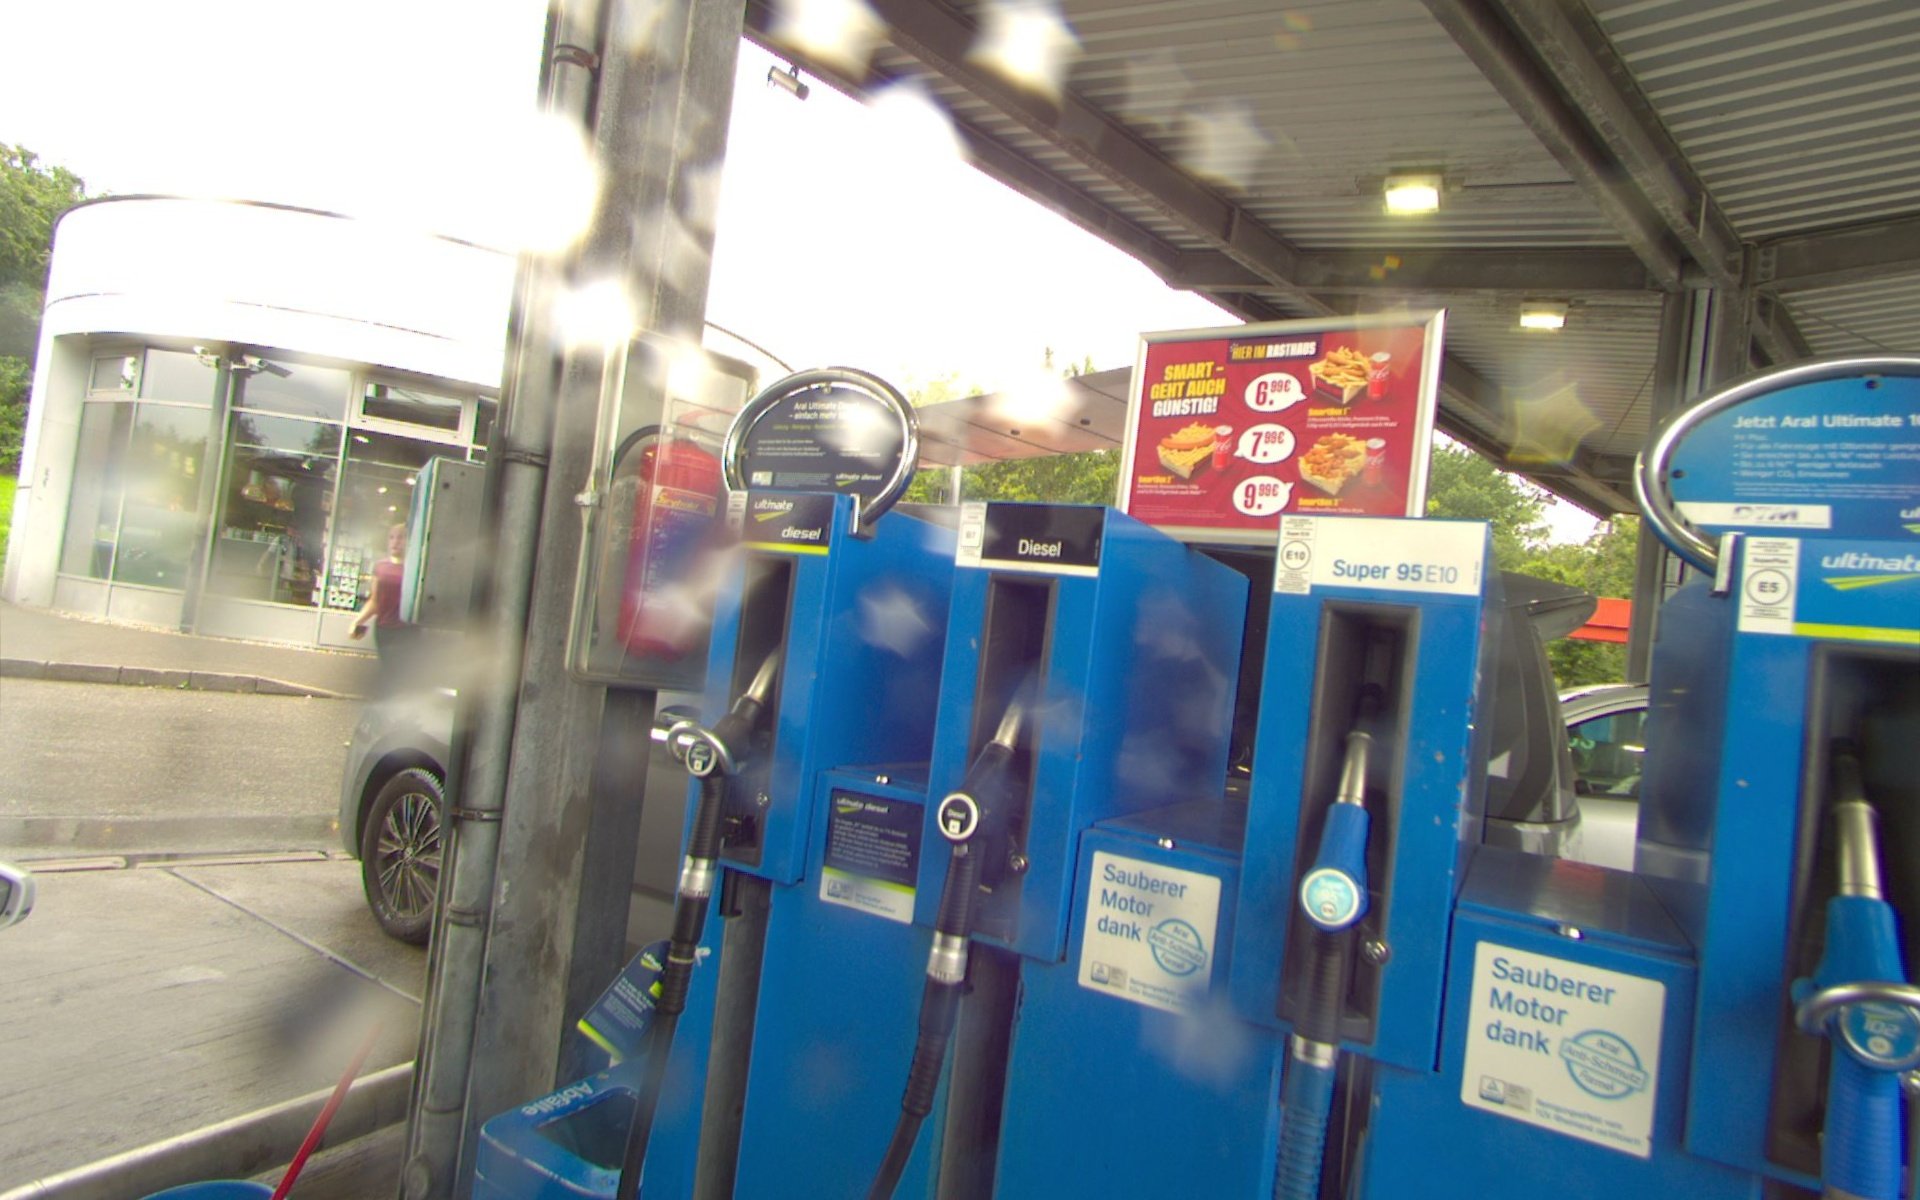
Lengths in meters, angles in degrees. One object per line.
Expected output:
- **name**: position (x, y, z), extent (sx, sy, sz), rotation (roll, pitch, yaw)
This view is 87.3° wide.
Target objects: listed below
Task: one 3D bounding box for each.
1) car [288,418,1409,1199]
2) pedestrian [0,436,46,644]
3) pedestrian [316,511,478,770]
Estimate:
- **car**: position (-0.584, 0.497, 3.978), extent (3.934, 1.971, 1.819), rotation (7, -1, 32)
- **pedestrian**: position (-9.293, -0.611, 9.267), extent (0.990, 1.887, 0.793), rotation (7, 0, -30)
- **pedestrian**: position (-4.144, 0.297, 7.481), extent (0.786, 1.755, 0.835), rotation (7, 0, -23)
